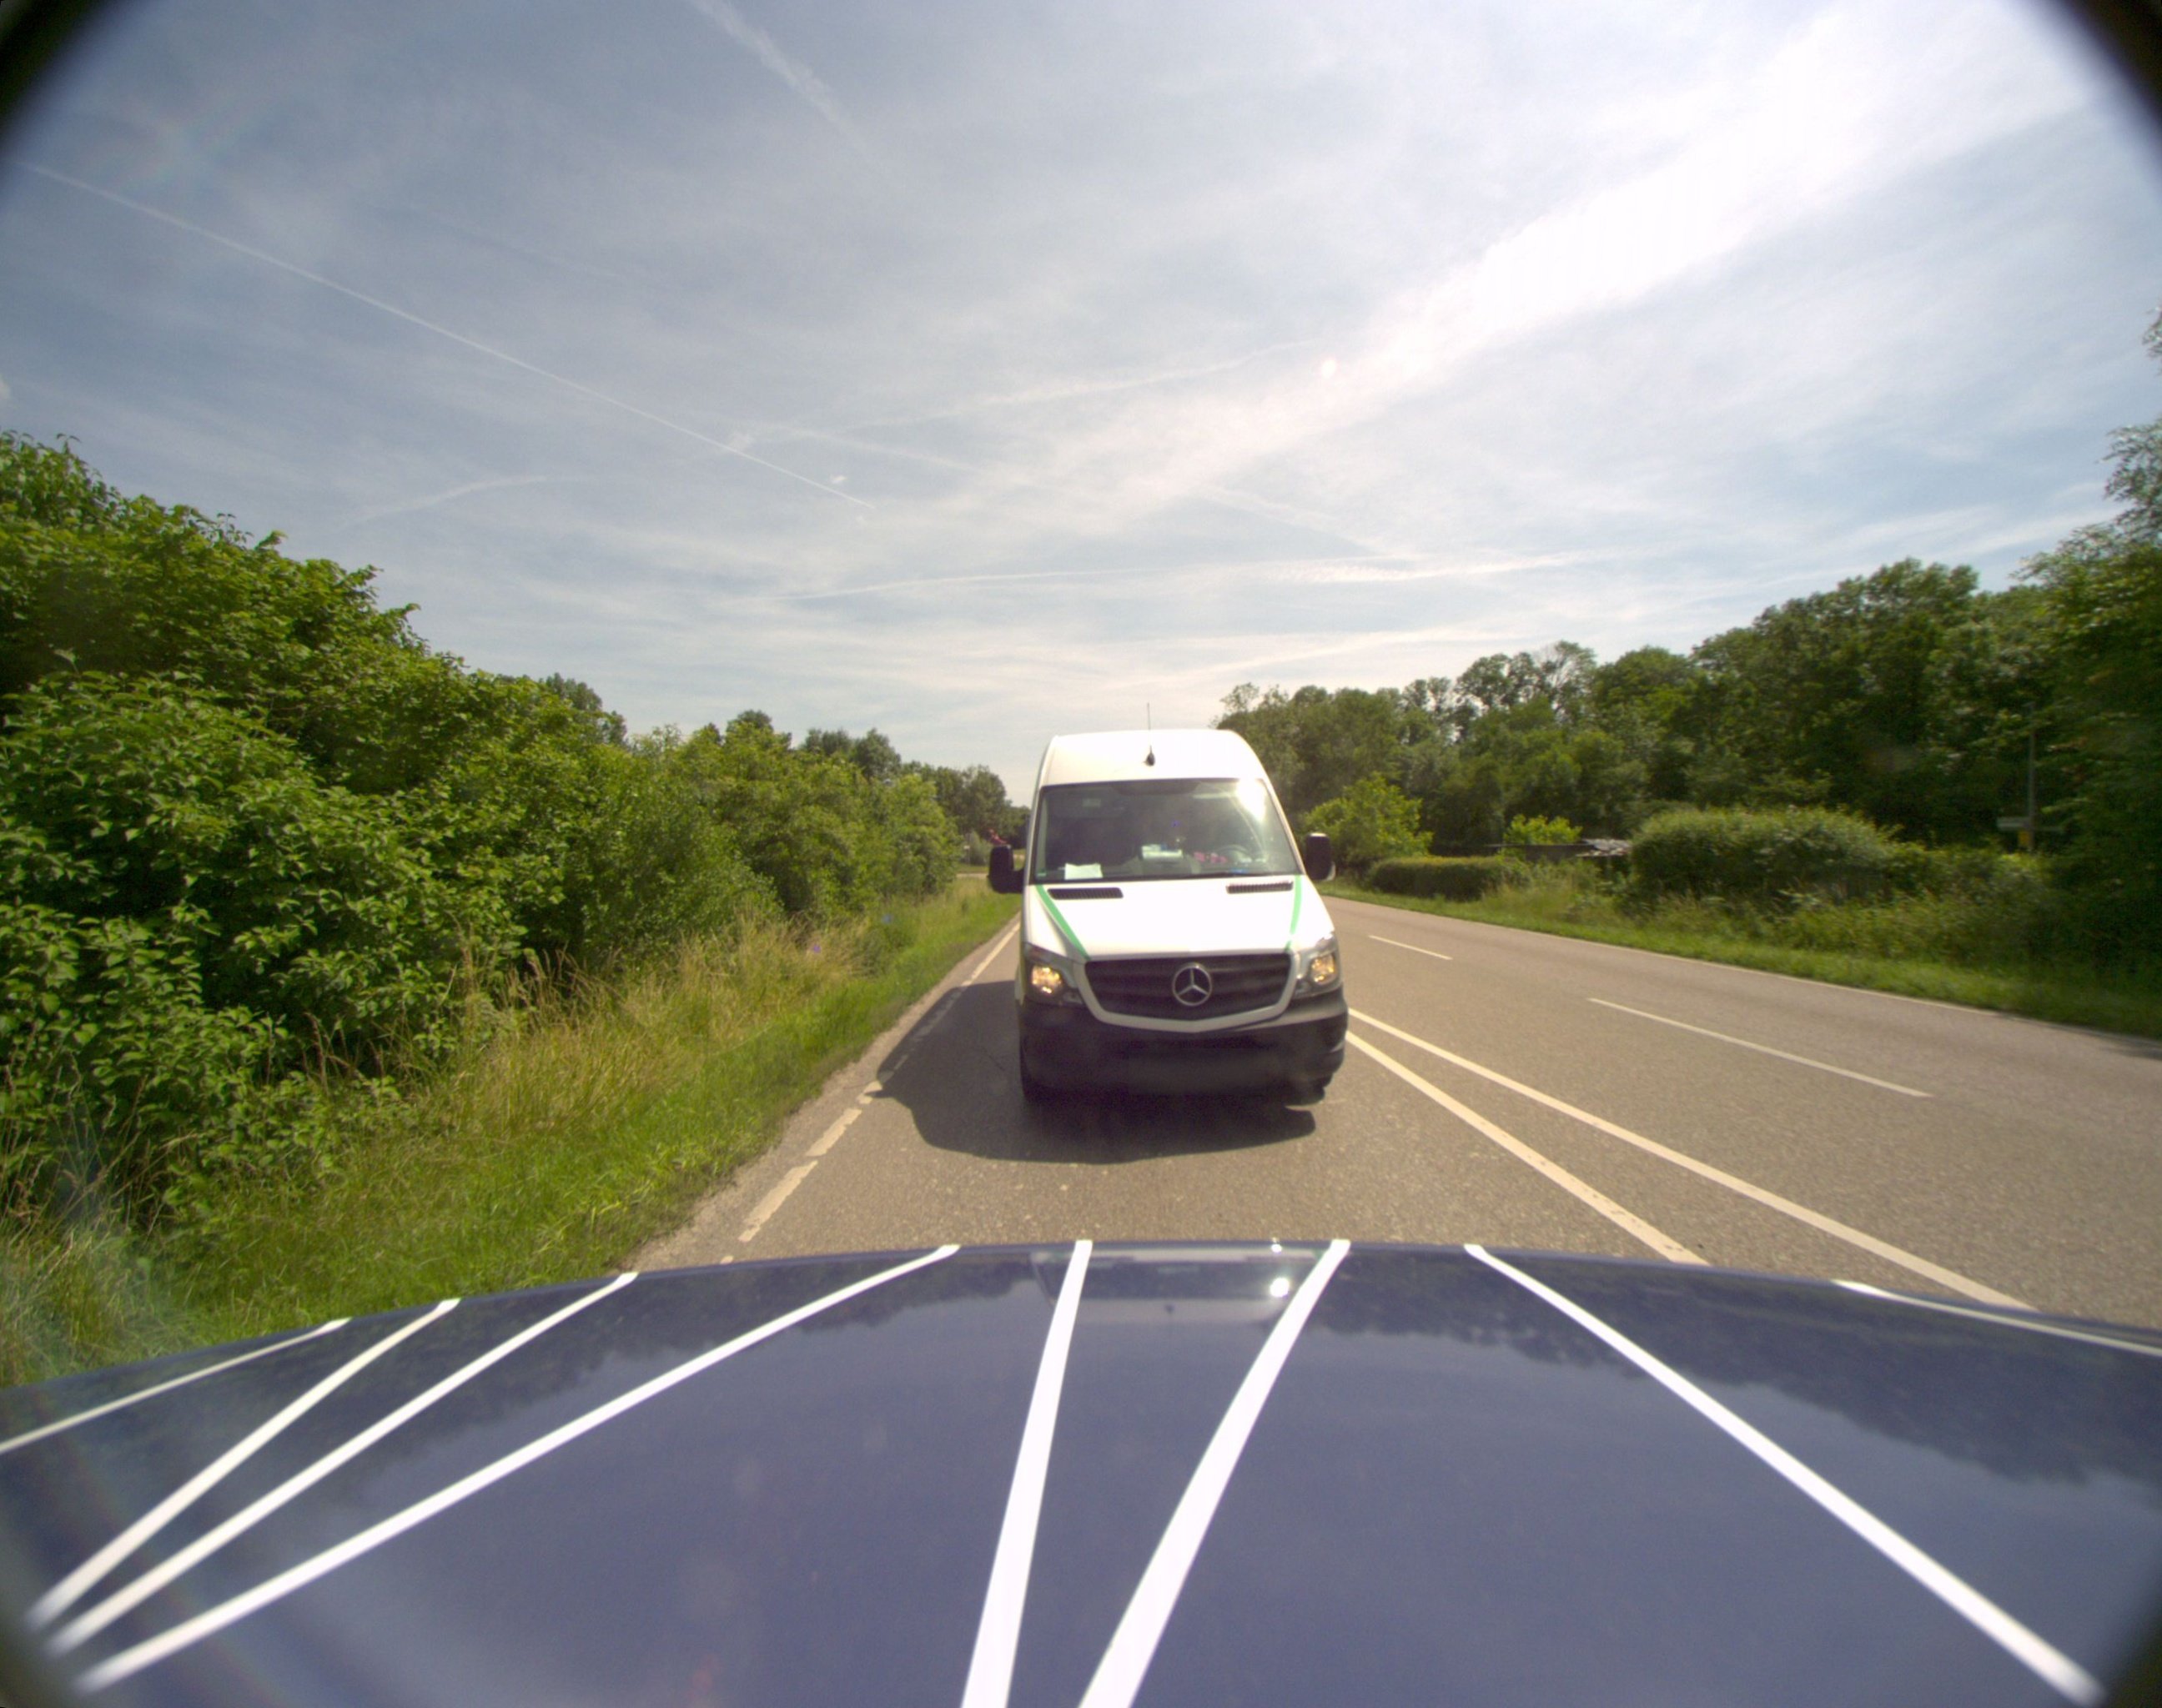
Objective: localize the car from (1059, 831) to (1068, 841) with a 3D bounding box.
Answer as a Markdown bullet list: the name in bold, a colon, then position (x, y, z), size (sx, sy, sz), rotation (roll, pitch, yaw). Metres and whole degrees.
- **car**: position (-3.980, -3.996, 171.583), size (1.999, 2.166, 3.998), rotation (-2, 2, -1)

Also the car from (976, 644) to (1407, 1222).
- **car**: position (0.447, 0.350, 6.406), size (1.961, 2.655, 5.679), rotation (-2, 1, -2)

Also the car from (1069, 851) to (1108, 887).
- **car**: position (0.376, 0.728, 38.680), size (1.848, 1.692, 4.242), rotation (0, 0, 0)
